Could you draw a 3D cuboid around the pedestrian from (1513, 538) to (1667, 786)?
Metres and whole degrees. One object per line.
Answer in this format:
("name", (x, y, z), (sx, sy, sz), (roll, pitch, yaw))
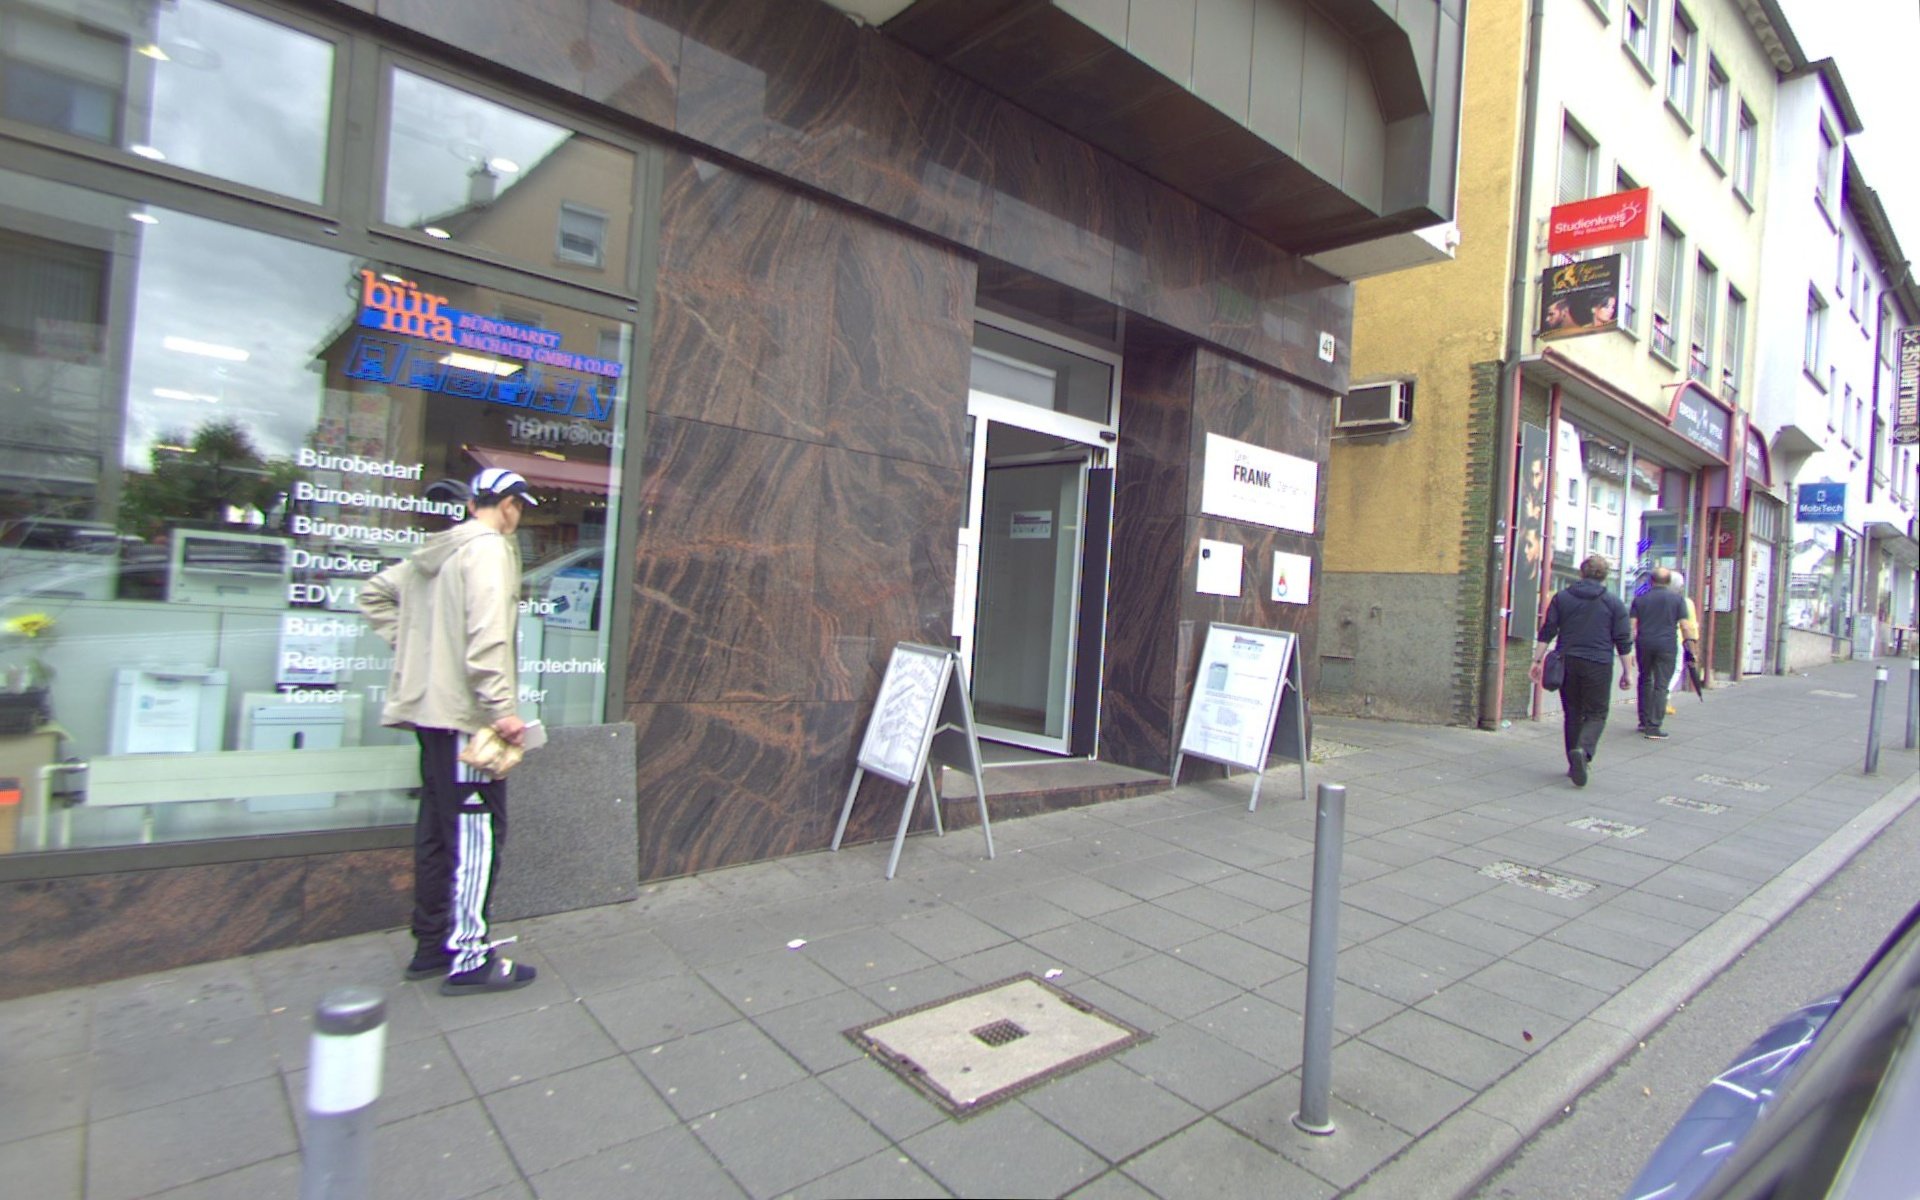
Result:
("pedestrian", (4.853, 0.435, 7.803), (0.773, 1.774, 0.713), (1, 3, -40))

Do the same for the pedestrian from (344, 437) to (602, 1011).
("pedestrian", (-1.652, 0.346, 3.409), (0.663, 1.709, 0.535), (7, 4, 44))

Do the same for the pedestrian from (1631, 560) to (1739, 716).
("pedestrian", (8.215, 0.402, 11.468), (0.820, 1.651, 0.713), (1, 4, -40))

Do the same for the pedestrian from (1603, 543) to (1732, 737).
("pedestrian", (6.970, 0.363, 9.976), (0.771, 1.773, 0.713), (1, 5, -40))
